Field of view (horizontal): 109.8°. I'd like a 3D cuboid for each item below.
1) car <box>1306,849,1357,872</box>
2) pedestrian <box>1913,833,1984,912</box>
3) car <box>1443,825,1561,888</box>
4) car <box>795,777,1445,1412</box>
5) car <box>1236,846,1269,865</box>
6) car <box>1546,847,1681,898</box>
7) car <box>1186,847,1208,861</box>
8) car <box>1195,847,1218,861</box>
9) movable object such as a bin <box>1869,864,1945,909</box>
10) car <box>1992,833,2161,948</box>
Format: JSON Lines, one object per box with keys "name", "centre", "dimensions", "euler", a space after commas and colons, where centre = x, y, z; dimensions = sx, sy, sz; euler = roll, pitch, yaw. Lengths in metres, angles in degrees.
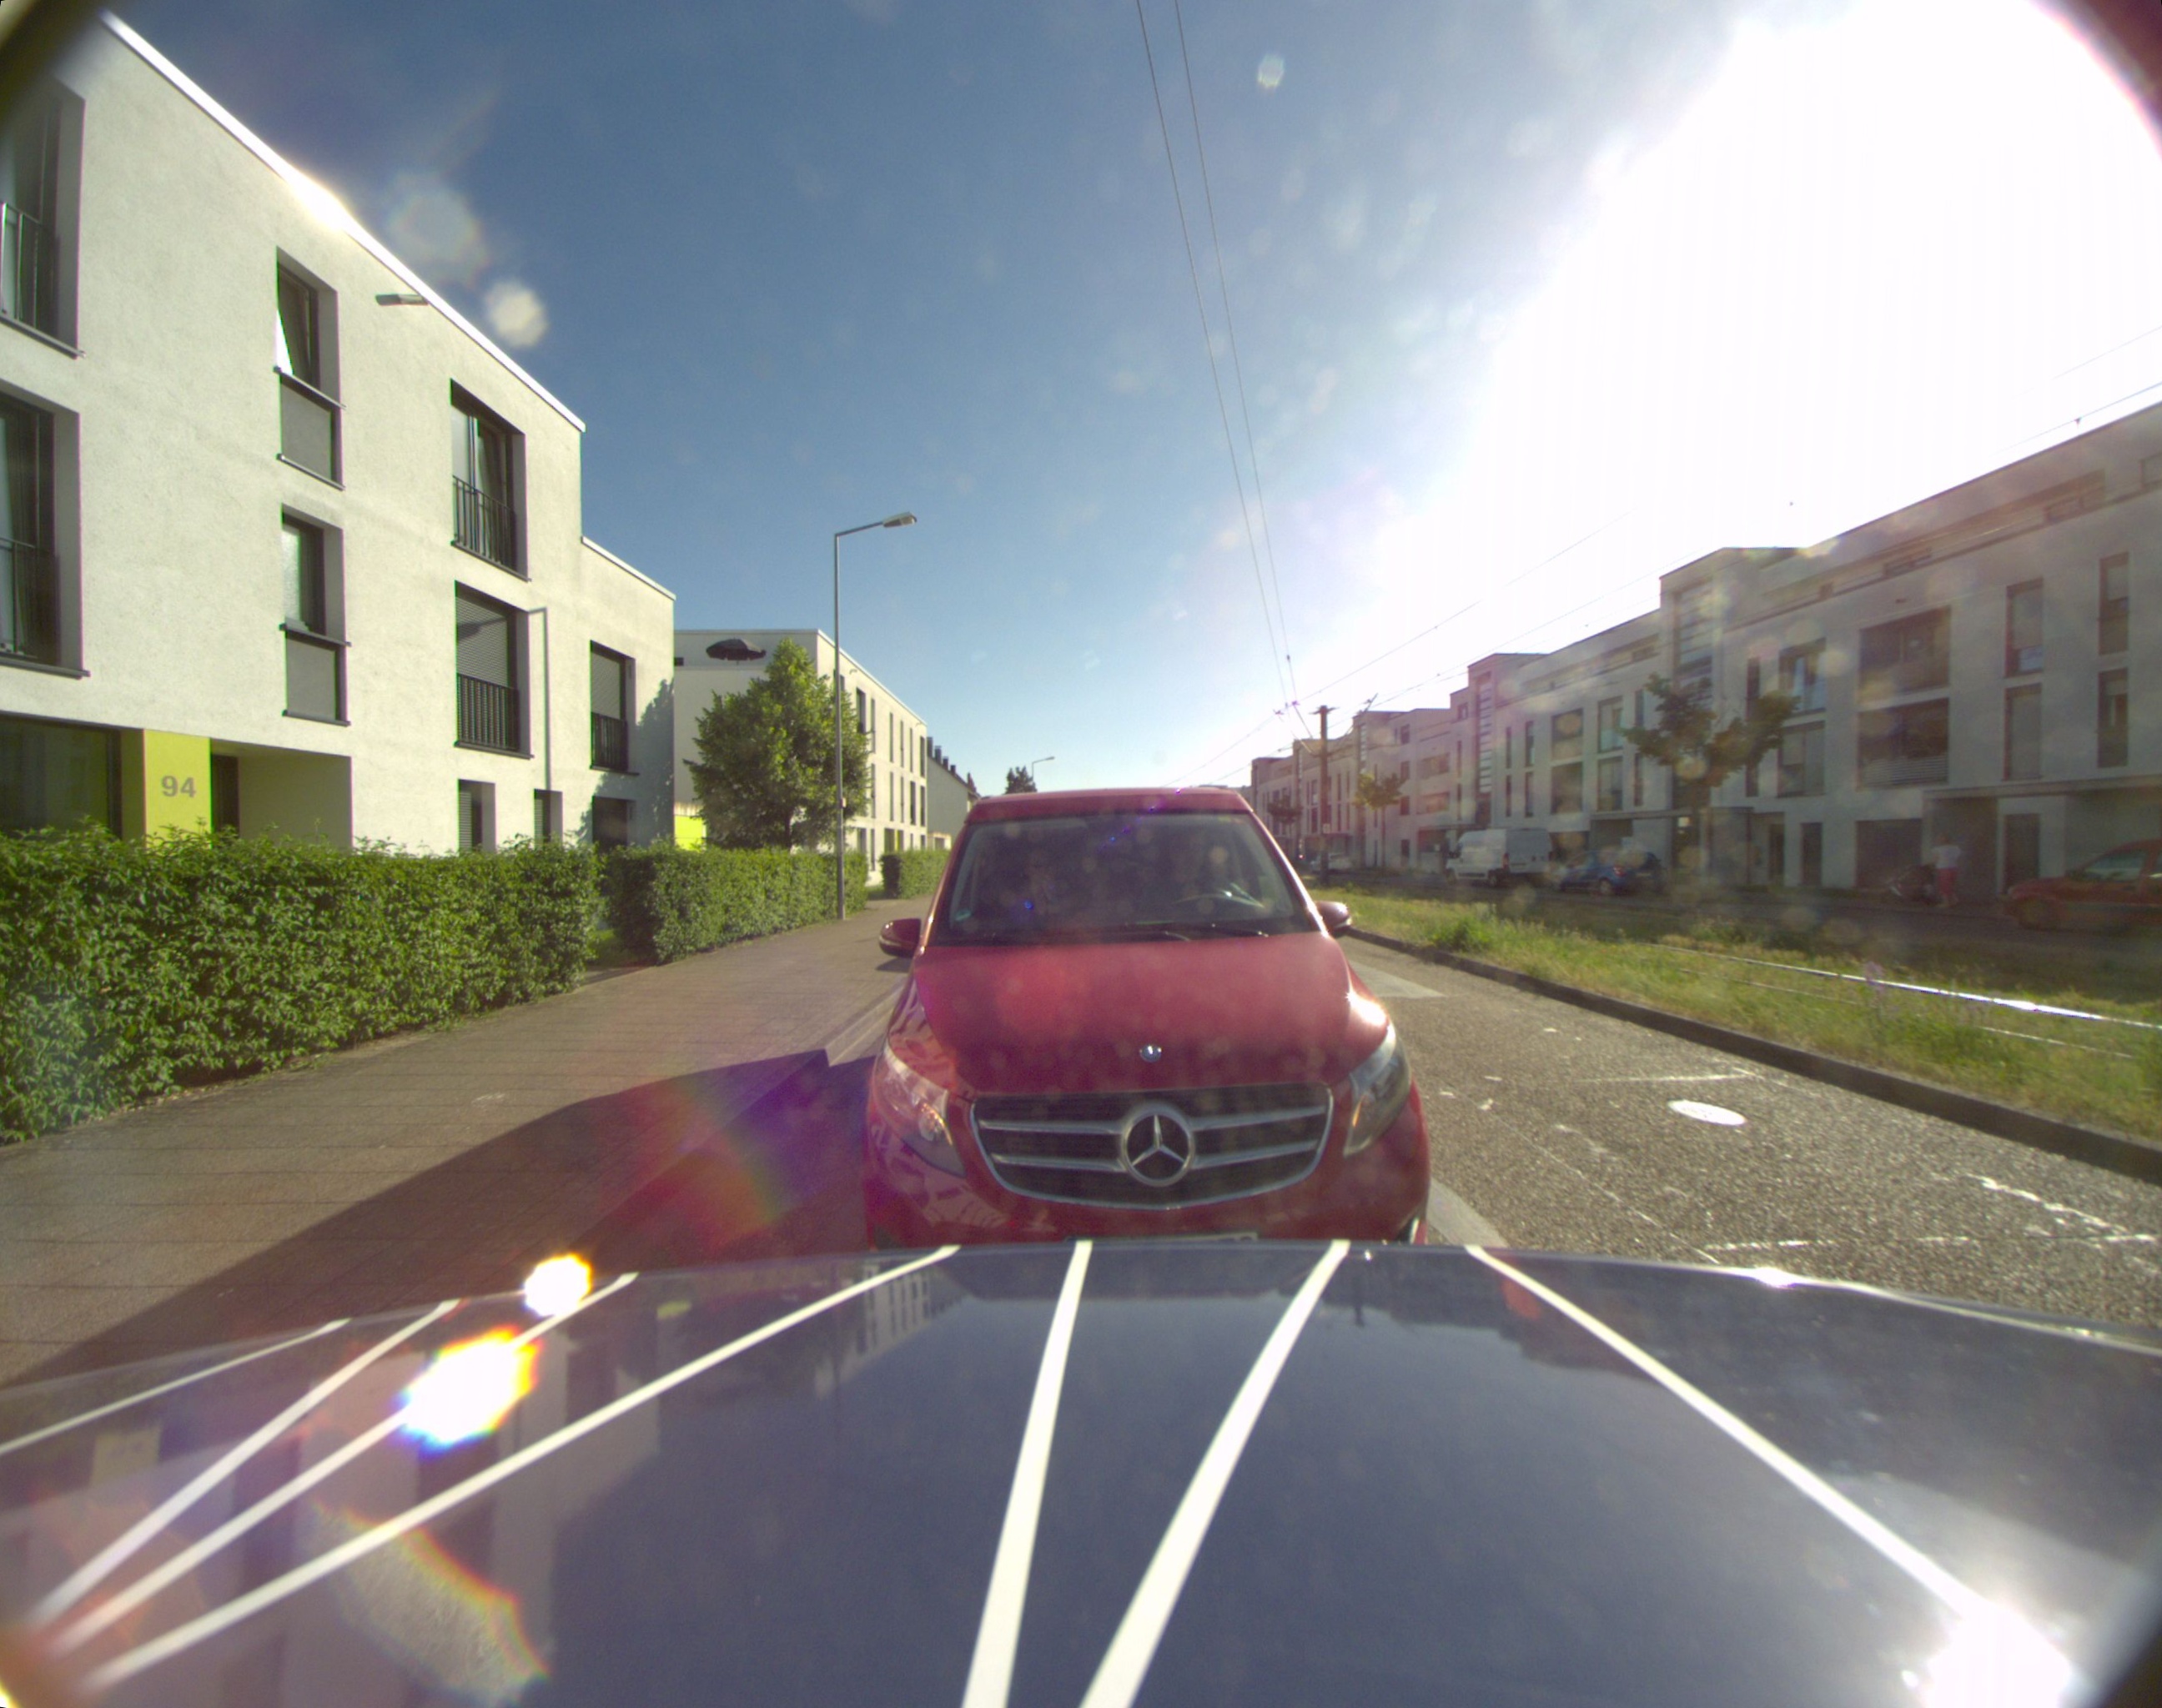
{"name": "car", "centre": [17.630, 0.421, 53.711], "dimensions": [1.923, 1.497, 4.282], "euler": [-2, 1, -4]}
{"name": "pedestrian", "centre": [20.664, 0.437, 18.117], "dimensions": [0.776, 1.812, 0.785], "euler": [-2, 1, 1]}
{"name": "car", "centre": [18.166, 0.079, 33.142], "dimensions": [2.225, 2.458, 5.195], "euler": [-2, 1, 0]}
{"name": "car", "centre": [0.150, 0.704, 4.522], "dimensions": [1.874, 1.843, 4.506], "euler": [-2, 1, 1]}
{"name": "car", "centre": [16.713, 0.140, 74.326], "dimensions": [1.923, 1.671, 4.282], "euler": [-2, 1, -4]}
{"name": "car", "centre": [18.374, 0.580, 26.471], "dimensions": [1.999, 1.536, 3.835], "euler": [-2, 1, 0]}
{"name": "car", "centre": [15.181, -0.051, 99.629], "dimensions": [1.923, 1.671, 4.282], "euler": [-2, 1, -4]}
{"name": "car", "centre": [15.468, -0.029, 93.877], "dimensions": [1.923, 1.671, 4.282], "euler": [-2, 1, -4]}
{"name": "movable object such as a bin", "centre": [20.698, 0.805, 19.068], "dimensions": [0.729, 1.048, 1.083], "euler": [-2, 1, 1]}
{"name": "car", "centre": [18.614, 0.582, 12.780], "dimensions": [1.998, 1.817, 3.895], "euler": [-2, 1, 3]}
